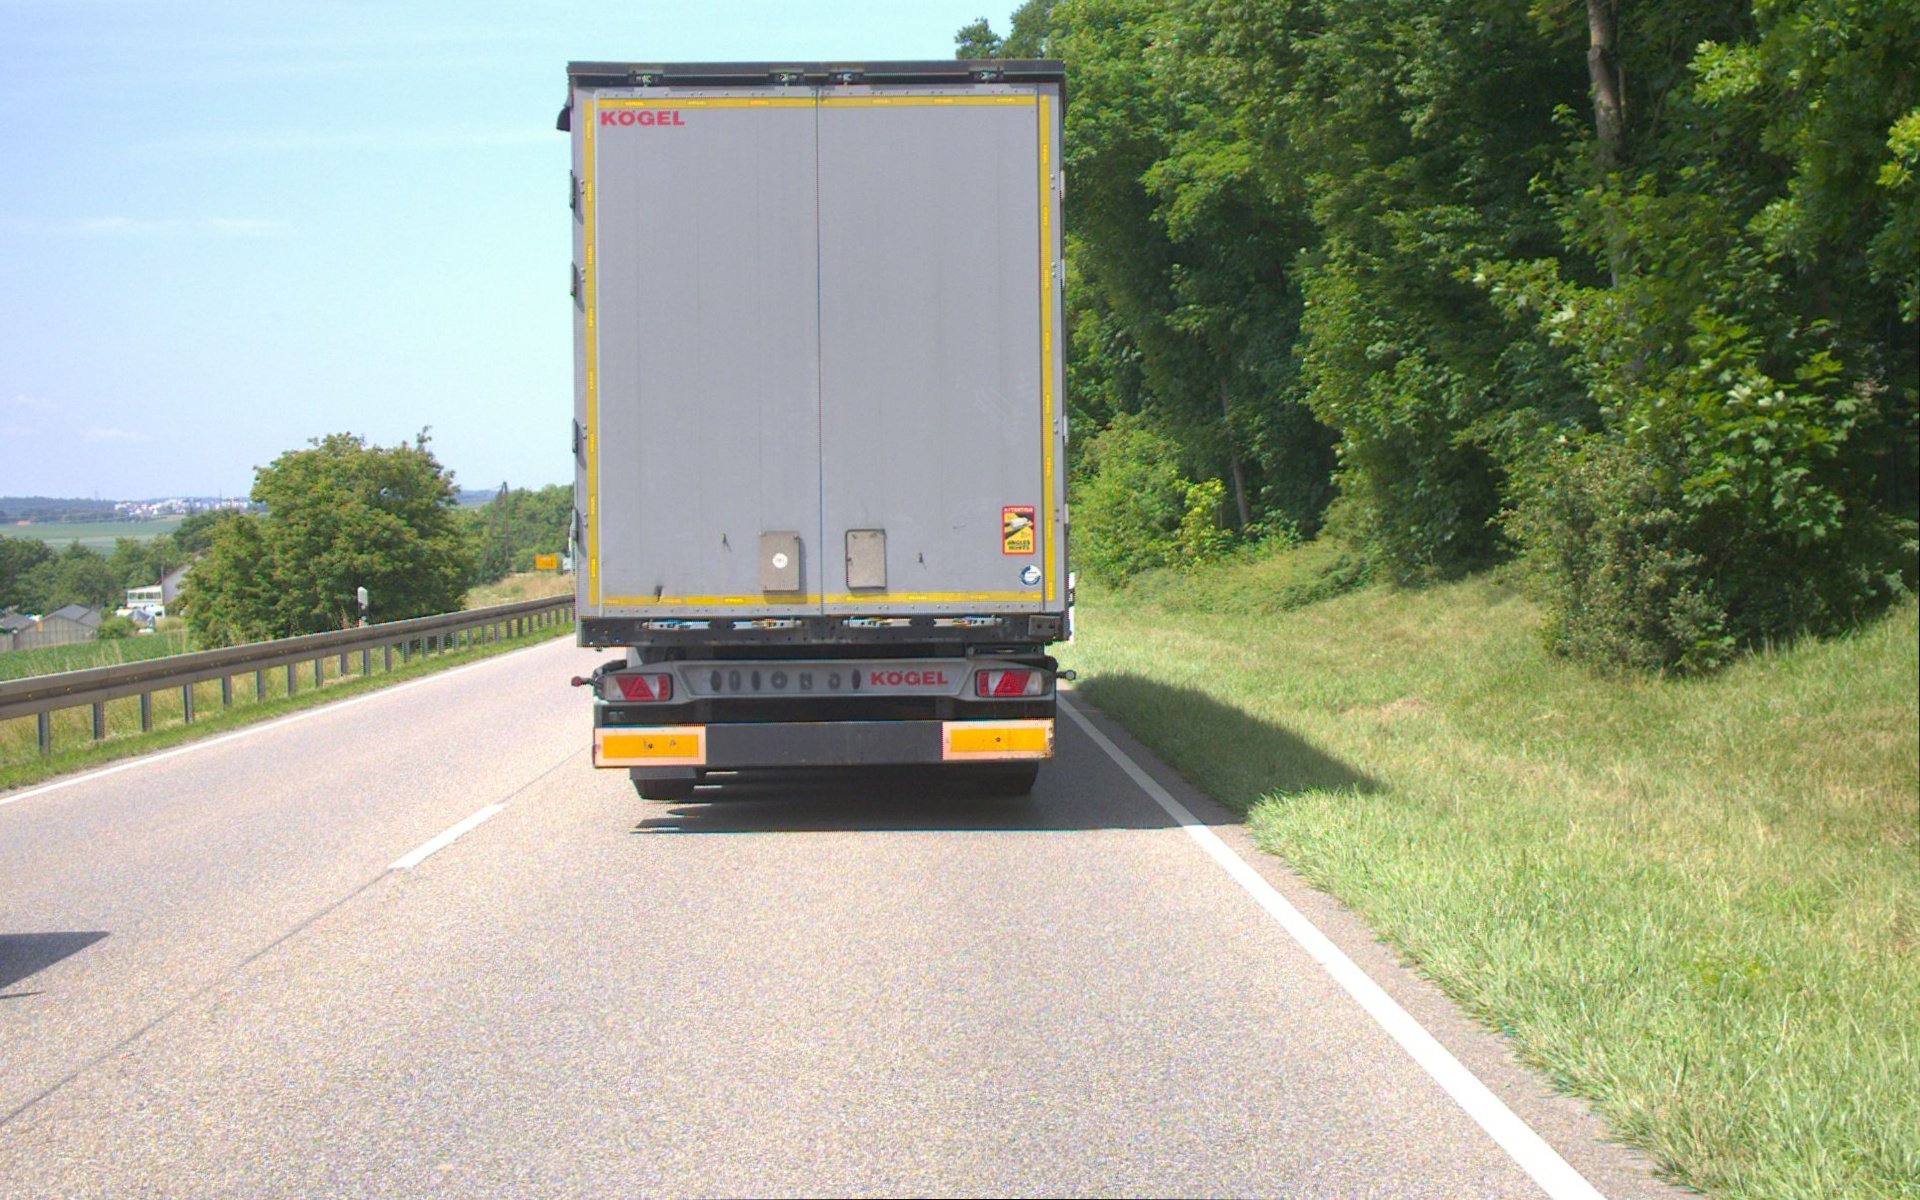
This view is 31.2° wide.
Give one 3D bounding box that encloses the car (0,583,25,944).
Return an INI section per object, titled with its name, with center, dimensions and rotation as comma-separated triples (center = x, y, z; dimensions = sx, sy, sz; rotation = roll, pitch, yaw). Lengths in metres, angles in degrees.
[car]
center = -4.549, 0.697, 12.041
dimensions = 1.557, 1.457, 3.550
rotation = -4, 1, -1

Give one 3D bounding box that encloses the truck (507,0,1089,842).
[truck]
center = -0.953, -1.059, 21.626
dimensions = 2.907, 4.395, 8.861
rotation = 0, 1, -2
